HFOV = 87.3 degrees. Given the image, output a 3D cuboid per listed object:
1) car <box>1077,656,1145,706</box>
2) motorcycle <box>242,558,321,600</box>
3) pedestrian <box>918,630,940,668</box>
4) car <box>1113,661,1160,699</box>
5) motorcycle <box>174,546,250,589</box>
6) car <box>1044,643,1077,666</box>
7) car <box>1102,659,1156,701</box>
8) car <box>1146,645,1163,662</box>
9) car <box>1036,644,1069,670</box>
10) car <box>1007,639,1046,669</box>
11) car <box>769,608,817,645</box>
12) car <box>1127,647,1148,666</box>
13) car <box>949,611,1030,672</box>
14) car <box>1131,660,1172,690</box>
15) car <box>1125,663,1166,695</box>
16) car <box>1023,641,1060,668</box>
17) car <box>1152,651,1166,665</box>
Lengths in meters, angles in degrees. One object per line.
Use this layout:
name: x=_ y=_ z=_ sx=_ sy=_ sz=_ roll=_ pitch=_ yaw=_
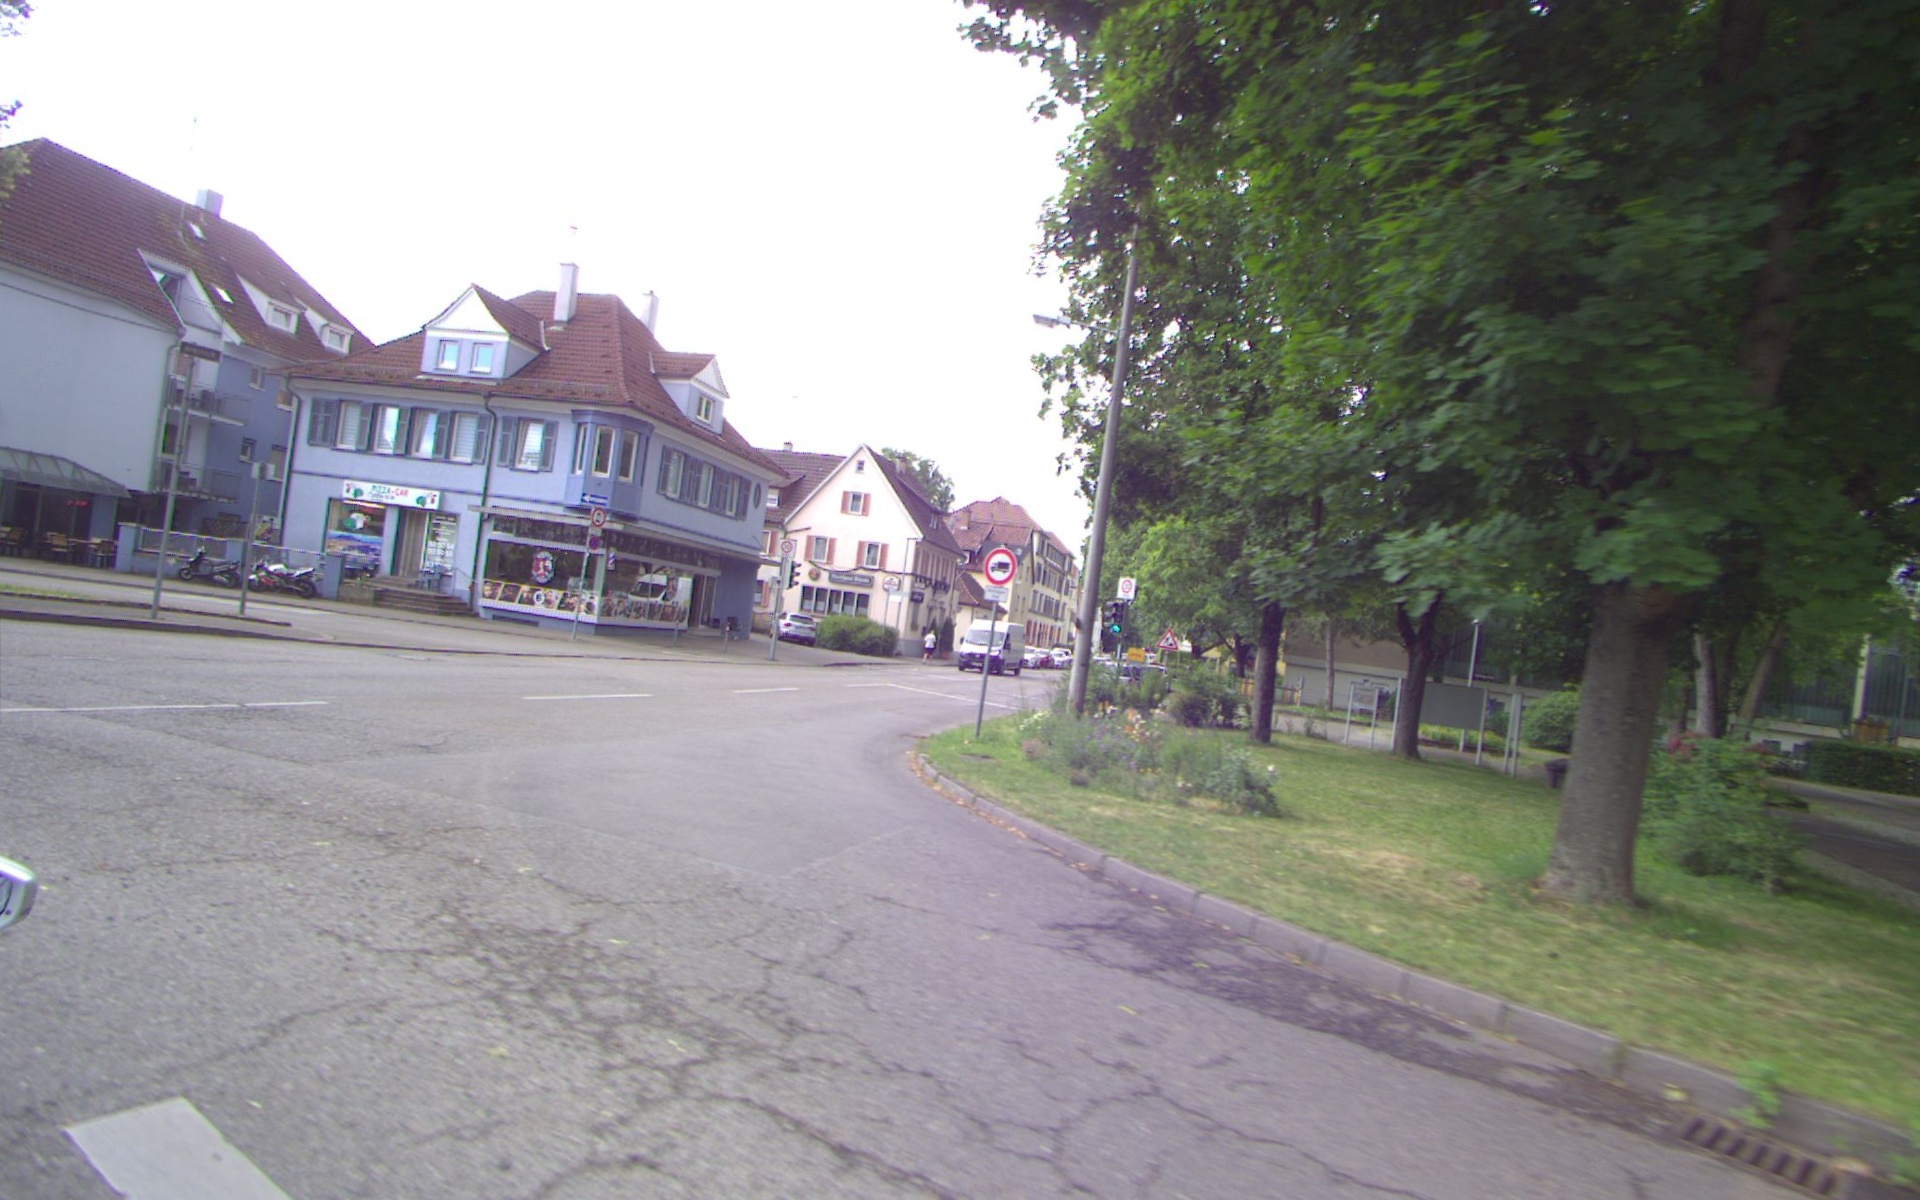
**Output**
car: x=5.663 y=2.962 z=37.226 sx=1.864 sy=1.473 sz=4.551 roll=7 pitch=-2 yaw=15
motorcycle: x=-19.986 y=-0.611 z=29.636 sx=1.791 sy=0.997 sz=0.521 roll=7 pitch=-1 yaw=-7
pedestrian: x=-1.485 y=2.377 z=48.853 sx=0.742 sy=1.717 sz=0.647 roll=7 pitch=-1 yaw=12
car: x=8.408 y=3.735 z=47.660 sx=1.679 sy=1.504 sz=3.763 roll=7 pitch=-1 yaw=16
motorcycle: x=-22.137 y=-0.948 z=29.785 sx=1.695 sy=1.044 sz=0.489 roll=7 pitch=0 yaw=-7
car: x=8.456 y=4.616 z=84.617 sx=1.962 sy=1.681 sz=4.004 roll=7 pitch=-2 yaw=15
car: x=7.232 y=3.385 z=42.820 sx=1.767 sy=1.473 sz=3.963 roll=7 pitch=-2 yaw=15
car: x=27.010 y=7.475 z=139.594 sx=1.962 sy=2.037 sz=4.004 roll=7 pitch=-1 yaw=11
car: x=7.331 y=4.480 z=79.343 sx=1.902 sy=1.748 sz=3.785 roll=7 pitch=-1 yaw=13
car: x=4.565 y=3.720 z=68.910 sx=1.902 sy=1.748 sz=3.785 roll=7 pitch=-1 yaw=13
car: x=-8.028 y=1.254 z=48.129 sx=1.549 sy=1.479 sz=3.427 roll=8 pitch=-2 yaw=-19
car: x=21.424 y=6.851 z=121.311 sx=1.962 sy=2.037 sz=4.004 roll=7 pitch=-1 yaw=13
car: x=1.504 y=2.029 z=47.794 sx=2.292 sy=2.420 sz=5.965 roll=7 pitch=-2 yaw=15
car: x=11.277 y=4.372 z=58.959 sx=1.888 sy=1.473 sz=4.406 roll=7 pitch=-2 yaw=15
car: x=9.805 y=4.113 z=52.930 sx=1.706 sy=1.406 sz=3.745 roll=7 pitch=-2 yaw=15
car: x=6.051 y=4.057 z=74.296 sx=1.962 sy=1.681 sz=4.004 roll=7 pitch=-2 yaw=15
car: x=31.282 y=9.116 z=158.115 sx=1.962 sy=1.970 sz=4.004 roll=7 pitch=-1 yaw=12
